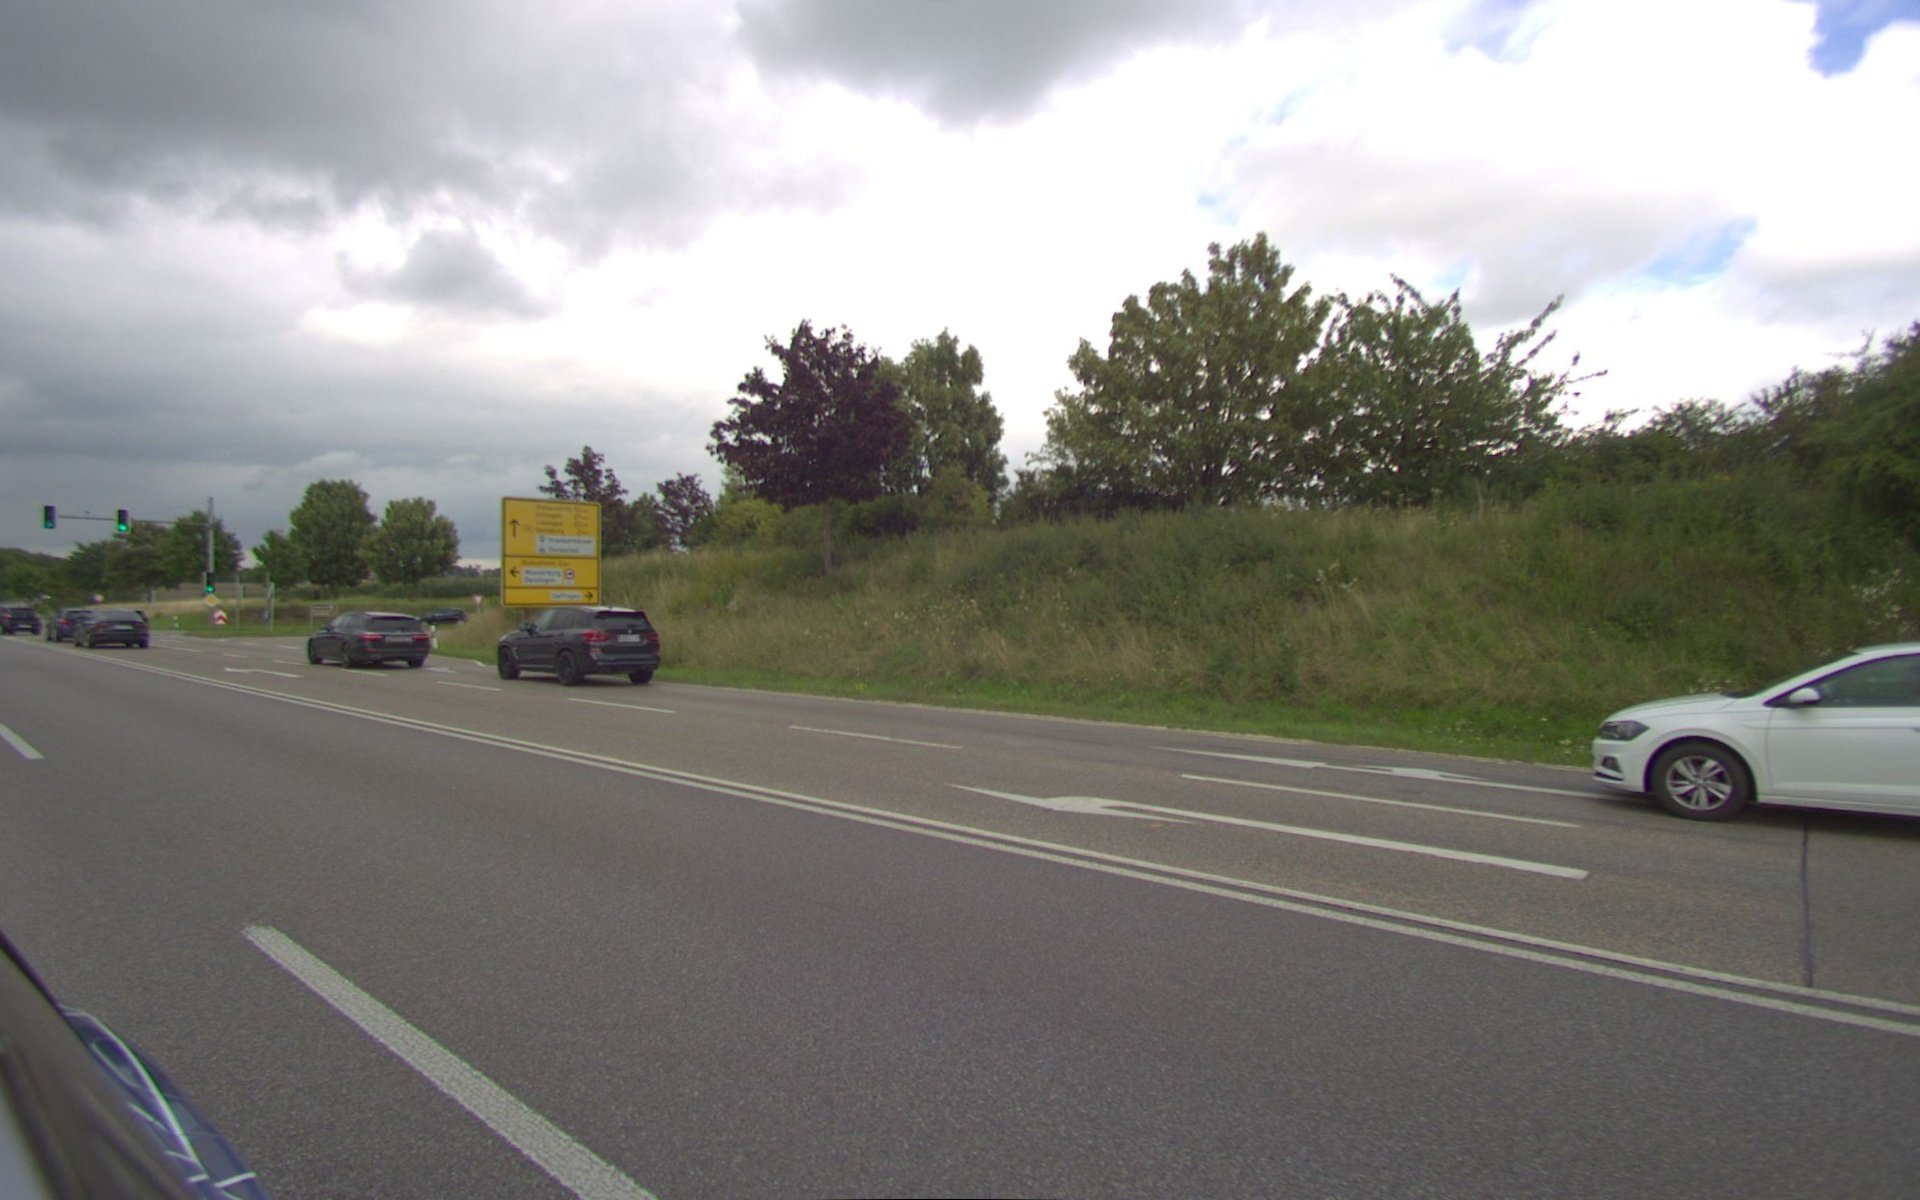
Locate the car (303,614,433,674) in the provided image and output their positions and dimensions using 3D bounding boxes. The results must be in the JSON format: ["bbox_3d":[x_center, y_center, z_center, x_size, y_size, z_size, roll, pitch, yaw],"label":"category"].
[{"bbox_3d":[-15.979,1.126,27.225,4.658,1.492,1.705,-1,-2,42],"label":"car"}]

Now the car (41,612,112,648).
[{"bbox_3d":[-37.839,1.263,43.309,3.999,1.460,1.836,-1,-2,42],"label":"car"}]

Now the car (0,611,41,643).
[{"bbox_3d":[-48.996,1.373,52.334,3.674,1.608,1.836,-1,-2,42],"label":"car"}]

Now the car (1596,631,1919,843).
[{"bbox_3d":[7.231,0.975,7.541,4.053,1.425,1.591,-1,-1,40],"label":"car"}]

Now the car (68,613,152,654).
[{"bbox_3d":[-31.603,1.219,37.608,4.184,1.418,1.836,-1,-2,42],"label":"car"}]

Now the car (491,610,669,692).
[{"bbox_3d":[-8.353,1.046,22.083,4.397,1.608,1.836,-1,-2,42],"label":"car"}]
